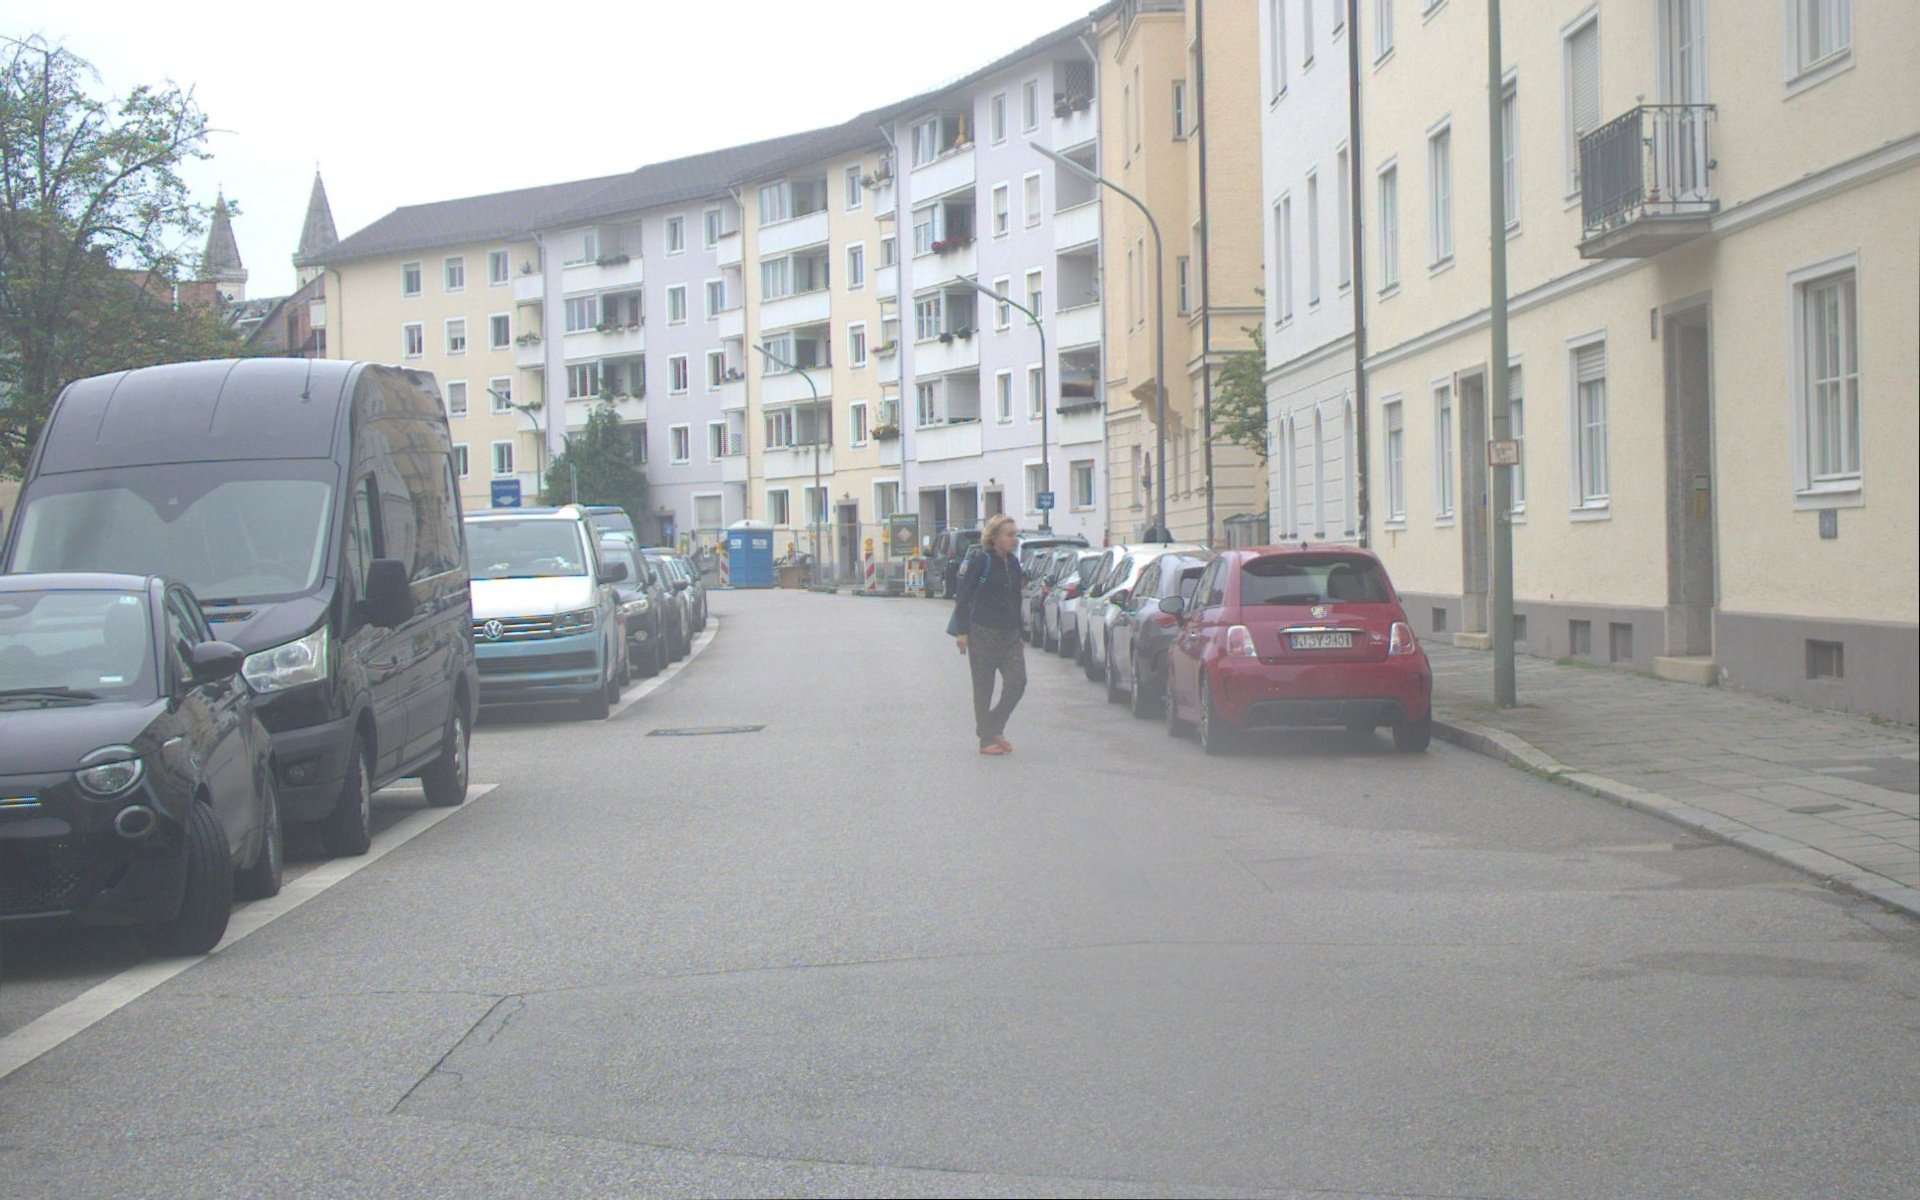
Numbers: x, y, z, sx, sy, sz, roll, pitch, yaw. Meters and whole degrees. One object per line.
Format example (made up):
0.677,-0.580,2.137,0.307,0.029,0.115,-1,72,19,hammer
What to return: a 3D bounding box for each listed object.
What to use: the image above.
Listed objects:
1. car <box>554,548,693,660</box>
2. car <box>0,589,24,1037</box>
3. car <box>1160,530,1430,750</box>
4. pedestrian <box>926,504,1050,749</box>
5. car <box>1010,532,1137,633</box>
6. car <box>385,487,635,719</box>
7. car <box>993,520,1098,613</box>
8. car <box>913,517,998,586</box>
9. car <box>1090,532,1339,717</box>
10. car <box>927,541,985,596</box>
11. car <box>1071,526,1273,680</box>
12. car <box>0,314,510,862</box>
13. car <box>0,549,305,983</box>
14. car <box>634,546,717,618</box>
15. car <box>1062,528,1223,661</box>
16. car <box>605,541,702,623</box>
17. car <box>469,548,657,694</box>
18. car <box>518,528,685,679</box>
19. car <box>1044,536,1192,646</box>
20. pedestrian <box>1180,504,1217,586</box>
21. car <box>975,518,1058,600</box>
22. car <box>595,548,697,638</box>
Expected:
-4.654,0.025,47.951,1.623,1.407,3.799,-3,1,-2,car
-3.875,0.747,9.526,1.700,1.441,3.825,0,2,-3,car
2.450,0.244,25.901,1.595,1.503,3.801,-1,1,-1,car
0.196,0.189,24.546,0.793,1.722,0.673,0,-1,-8,pedestrian
1.667,-0.293,51.719,1.590,1.427,4.422,0,1,-2,car
-4.137,-0.027,32.280,1.882,1.925,4.602,-3,2,-3,car
1.486,-0.621,61.029,1.590,1.577,4.300,0,1,-2,car
-0.127,-1.239,87.304,1.601,1.709,3.090,0,1,-11,car
2.188,0.182,30.582,1.692,1.486,4.343,-2,1,-2,car
-0.110,-0.765,83.145,1.272,1.294,2.798,-1,1,-2,car
2.205,-0.020,36.776,1.692,1.486,4.283,-2,1,-2,car
-3.988,-0.127,19.377,2.088,2.627,5.377,-1,2,1,car
-3.712,0.584,14.206,1.585,1.533,3.544,-1,1,-5,car
-6.026,-0.400,73.174,1.623,1.414,3.648,-2,1,-3,car
2.166,-0.103,41.627,1.599,1.486,3.799,-1,2,-2,car
-5.684,-0.354,63.982,1.623,1.414,3.982,-2,1,-3,car
-4.214,0.190,36.964,1.652,1.368,3.653,-3,2,-2,car
-4.400,0.001,42.688,1.701,1.685,4.028,-3,2,-2,car
2.108,-0.140,46.793,1.692,1.427,3.945,0,1,-2,car
4.951,-1.148,71.404,0.667,1.687,0.690,1,0,-1,pedestrian
1.128,-0.868,70.684,1.474,1.635,4.001,0,1,-2,car
-5.339,-0.146,58.783,1.623,1.414,3.982,-2,1,-4,car
